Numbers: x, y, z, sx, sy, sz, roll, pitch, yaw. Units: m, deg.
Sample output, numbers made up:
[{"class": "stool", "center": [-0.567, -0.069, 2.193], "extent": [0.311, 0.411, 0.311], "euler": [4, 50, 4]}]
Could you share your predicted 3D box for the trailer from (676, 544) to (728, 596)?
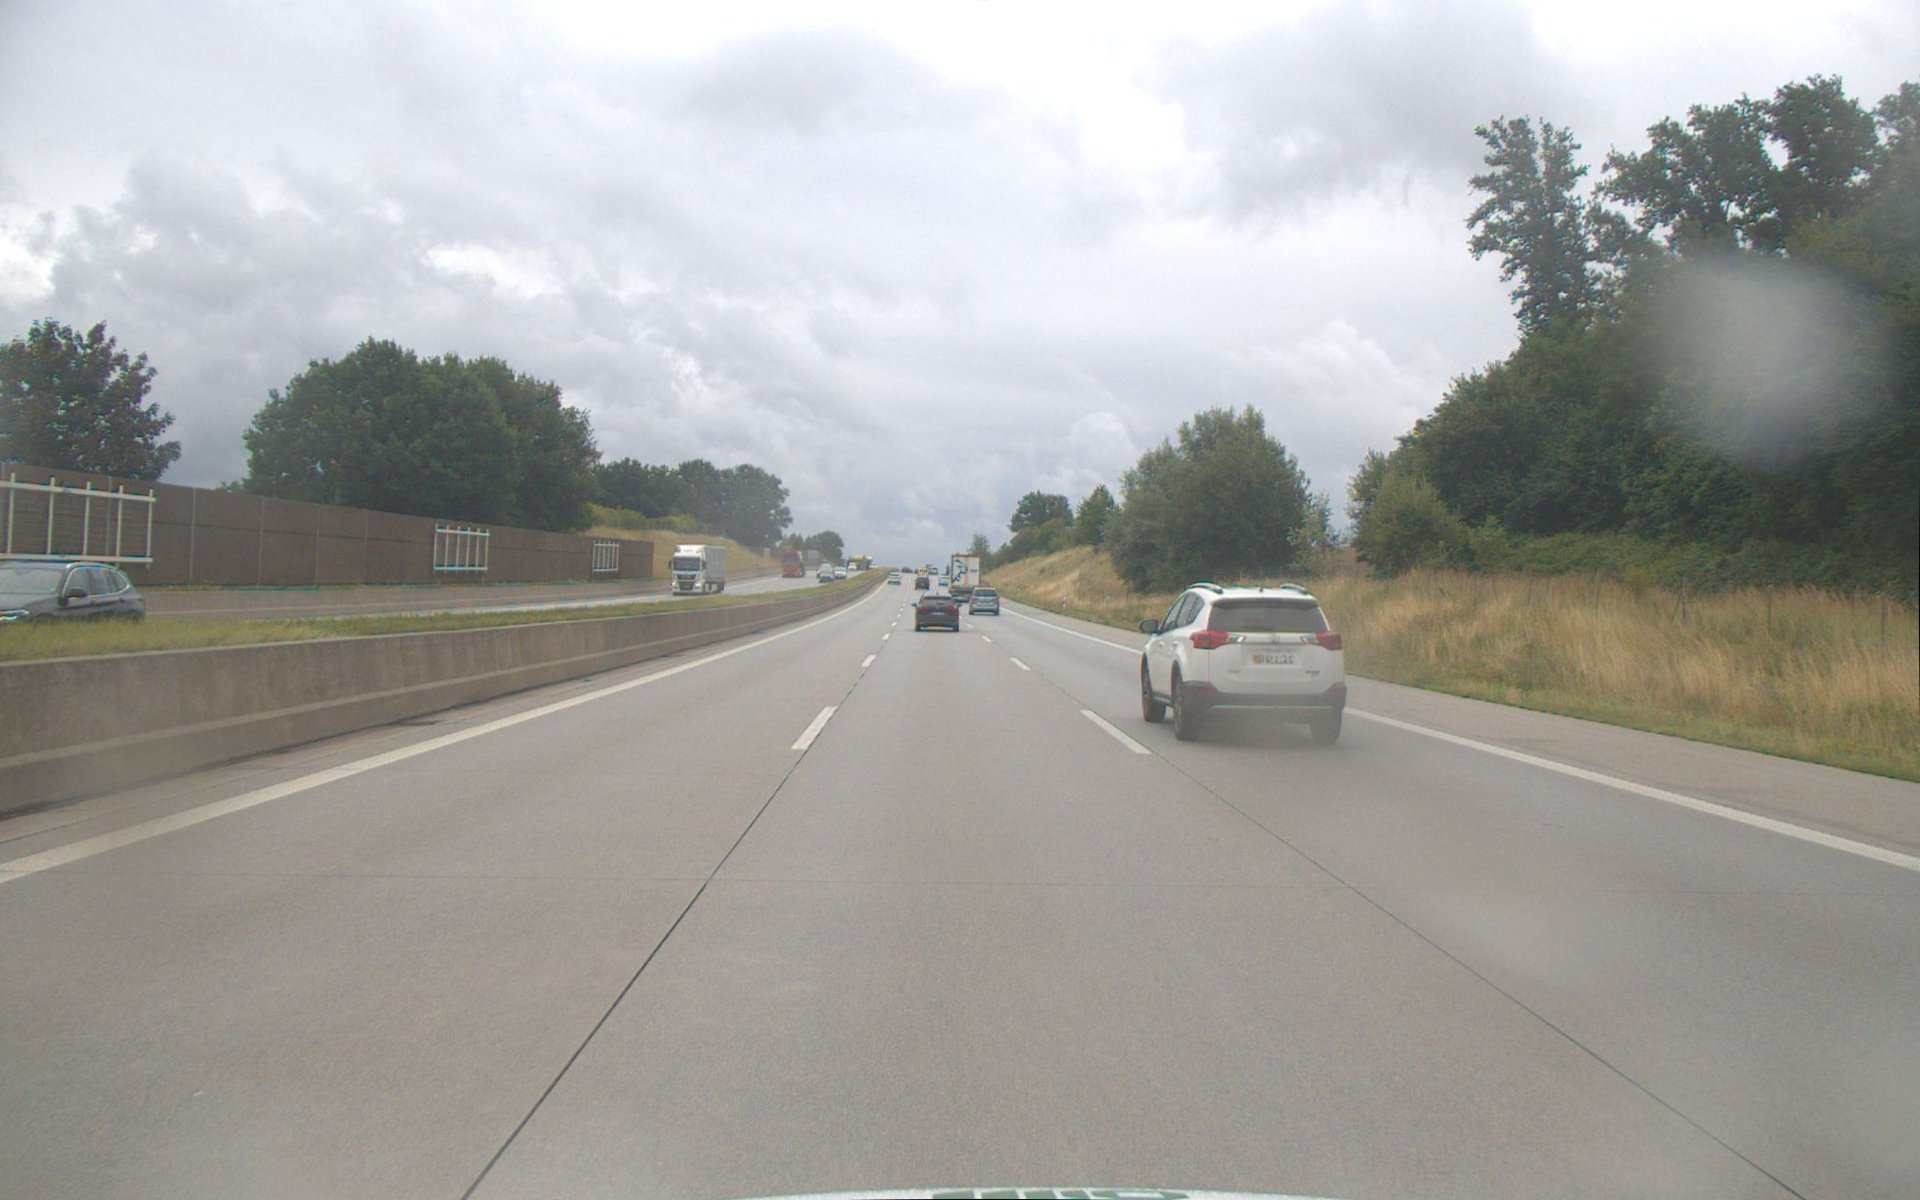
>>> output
[{"class": "trailer", "center": [-22.222, -2.500, 143.174], "extent": [2.642, 4.167, 14.001], "euler": [1, 0, -2]}]

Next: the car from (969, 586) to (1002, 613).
[{"class": "car", "center": [1.543, -0.004, 100.162], "extent": [1.952, 1.557, 4.000], "euler": [1, 0, 1]}]

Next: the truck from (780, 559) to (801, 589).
[{"class": "truck", "center": [-25.390, -3.838, 247.528], "extent": [2.501, 4.326, 7.461], "euler": [1, 0, -2]}]

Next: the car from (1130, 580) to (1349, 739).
[{"class": "car", "center": [3.221, 0.642, 19.827], "extent": [1.789, 1.684, 3.983], "euler": [1, 0, -2]}]

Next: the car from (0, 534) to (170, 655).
[{"class": "car", "center": [-14.911, -0.096, 27.081], "extent": [1.780, 1.798, 4.730], "euler": [1, 0, -2]}]

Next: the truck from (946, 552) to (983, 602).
[{"class": "truck", "center": [0.325, -1.973, 145.606], "extent": [2.956, 4.253, 8.352], "euler": [1, 0, -1]}]

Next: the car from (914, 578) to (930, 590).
[{"class": "car", "center": [-4.836, -2.015, 209.585], "extent": [1.896, 1.399, 4.594], "euler": [2, -1, 0]}]

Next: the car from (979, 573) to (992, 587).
[{"class": "car", "center": [4.031, -3.108, 260.427], "extent": [1.952, 2.049, 4.000], "euler": [1, 0, 1]}]

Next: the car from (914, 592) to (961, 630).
[{"class": "car", "center": [-0.922, 0.434, 64.902], "extent": [1.717, 1.422, 4.482], "euler": [1, 0, -2]}]

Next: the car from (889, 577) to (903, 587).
[{"class": "car", "center": [-9.061, -2.546, 234.155], "extent": [1.908, 1.379, 4.259], "euler": [1, 1, 0]}]

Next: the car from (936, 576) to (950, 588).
[{"class": "car", "center": [-2.500, -2.705, 246.191], "extent": [1.952, 1.668, 4.000], "euler": [1, 0, 1]}]

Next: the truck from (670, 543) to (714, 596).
[{"class": "truck", "center": [-21.981, -2.452, 135.796], "extent": [2.628, 4.155, 6.215], "euler": [1, 0, -2]}]
